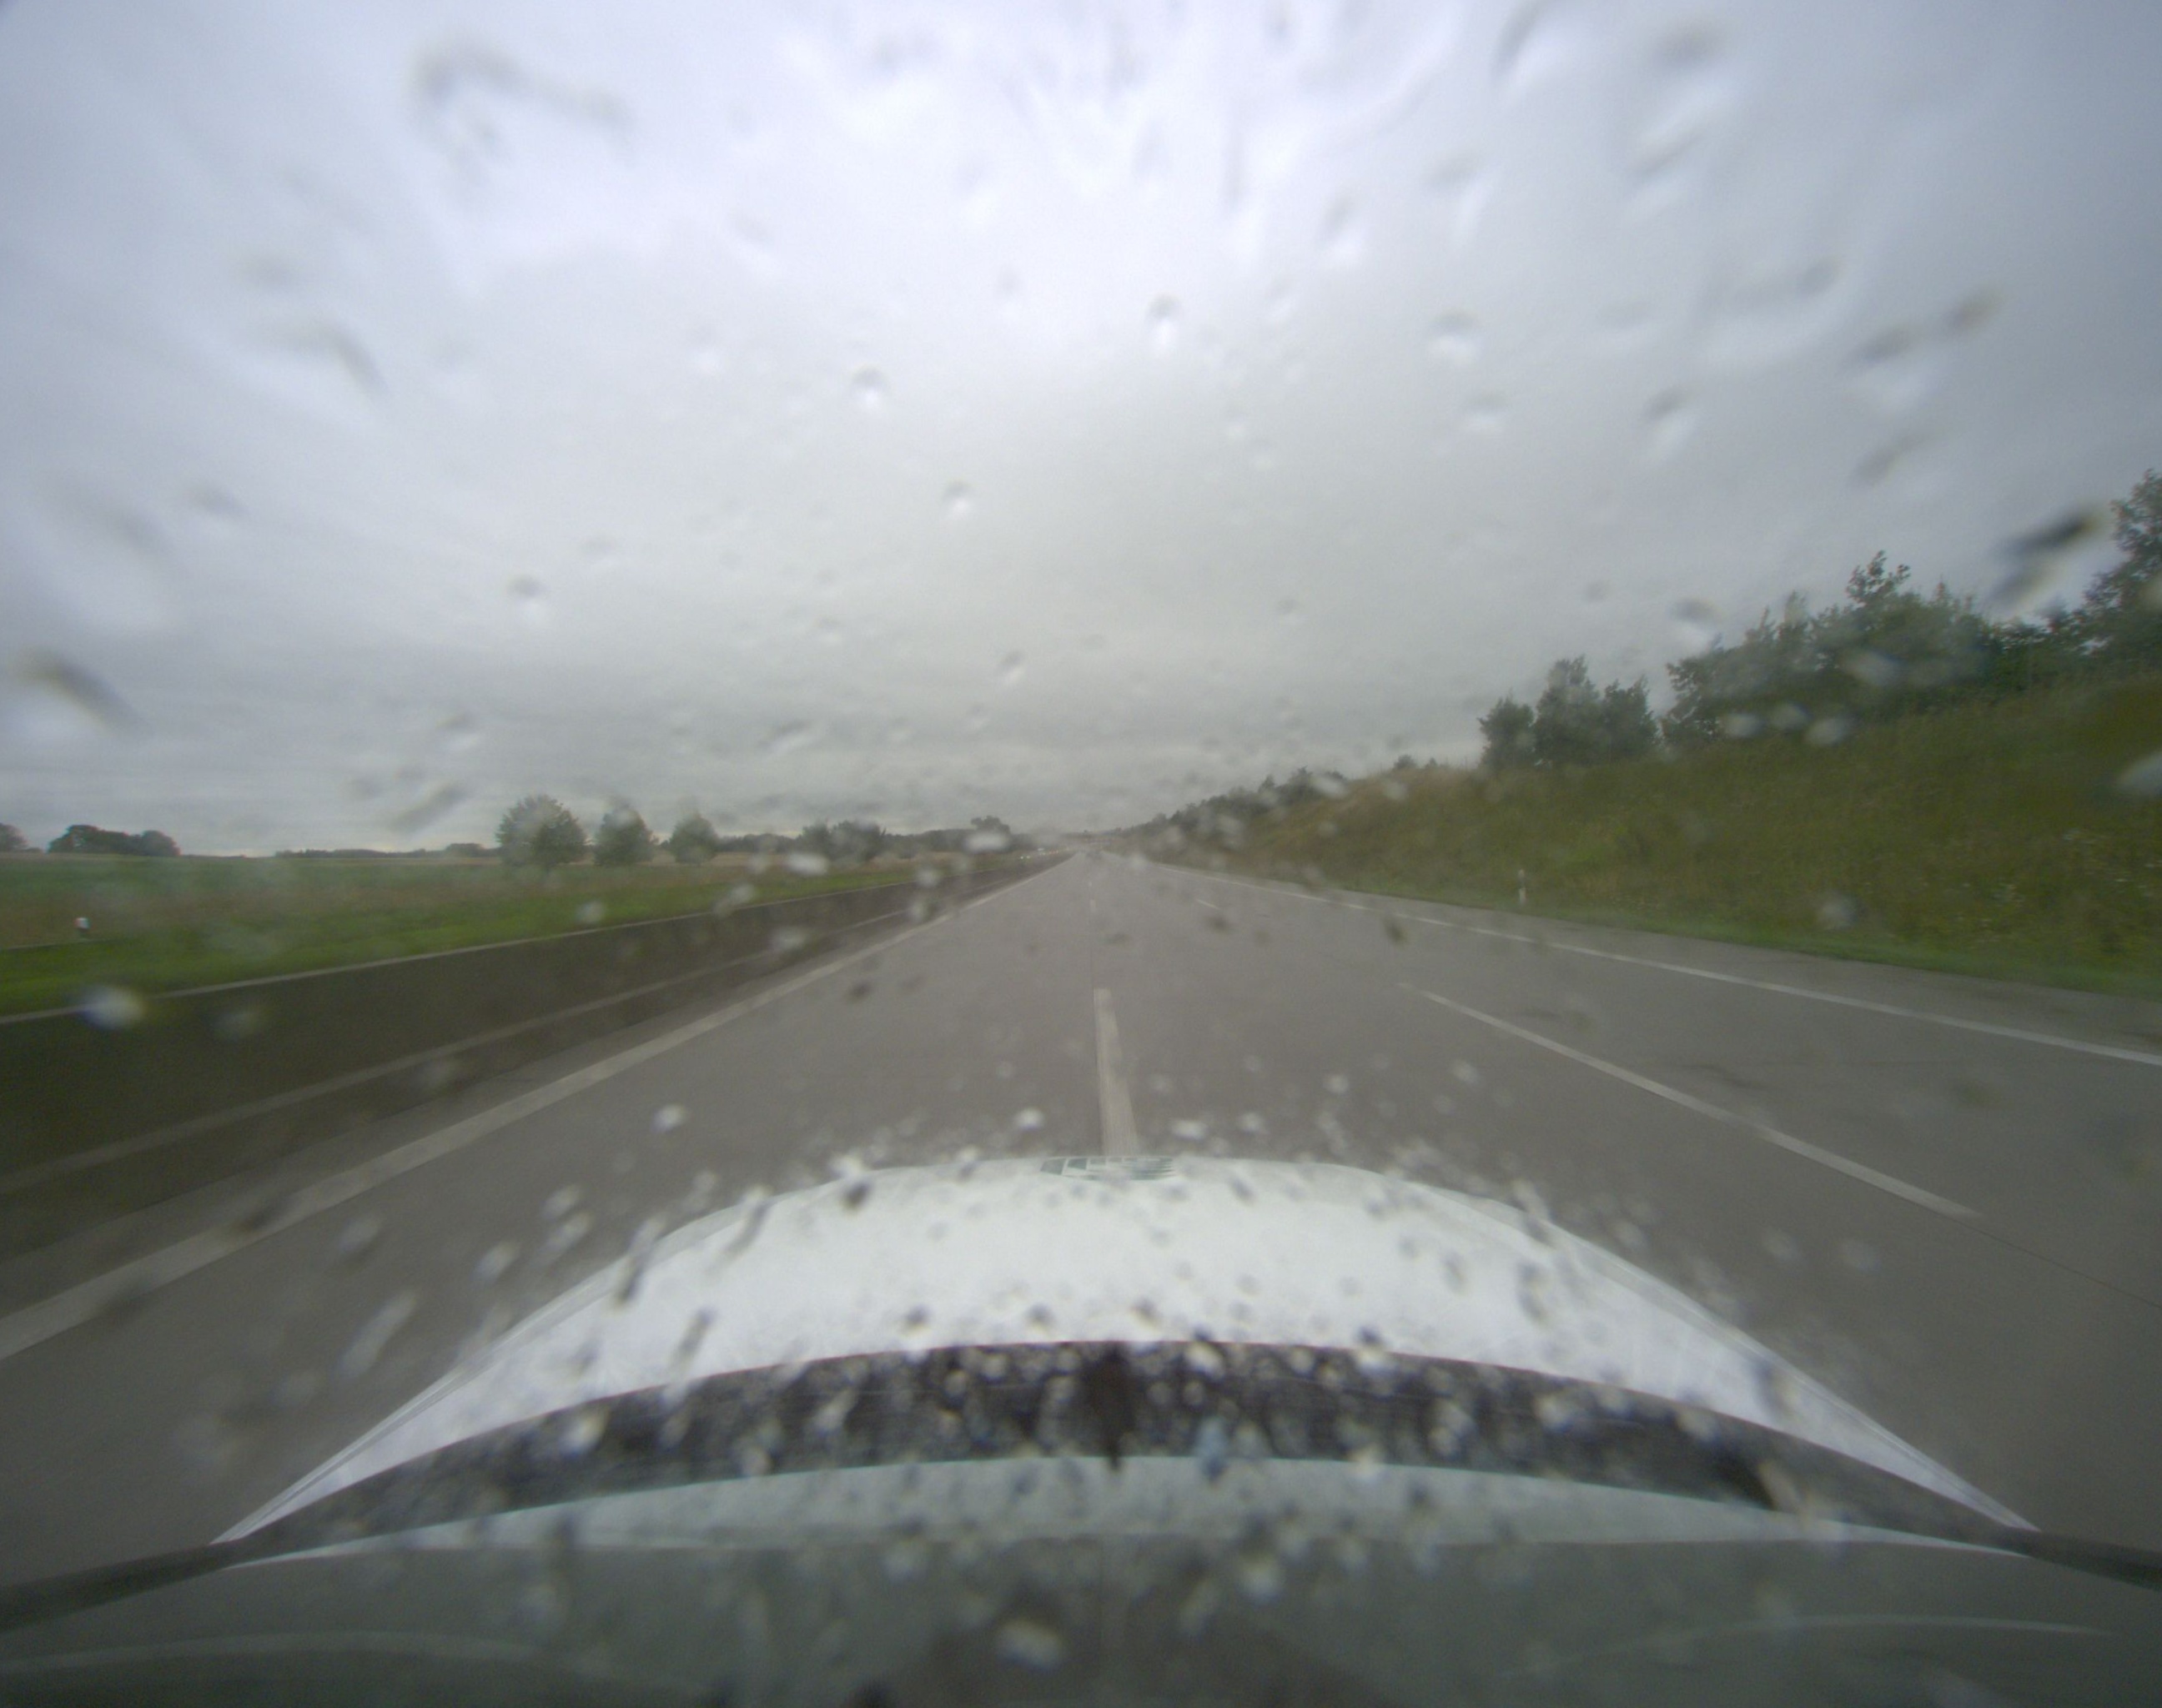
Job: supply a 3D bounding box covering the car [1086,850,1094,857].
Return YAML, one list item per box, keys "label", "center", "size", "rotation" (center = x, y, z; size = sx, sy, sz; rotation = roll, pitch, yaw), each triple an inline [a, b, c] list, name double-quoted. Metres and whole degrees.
- label: "car"
  center: [2.114, -0.106, 189.211]
  size: [1.723, 1.331, 4.431]
  rotation: [-1, 2, 1]

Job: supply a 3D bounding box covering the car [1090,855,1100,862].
- label: "car"
  center: [2.755, 0.897, 159.557]
  size: [1.842, 1.331, 4.428]
  rotation: [-1, 2, -1]
